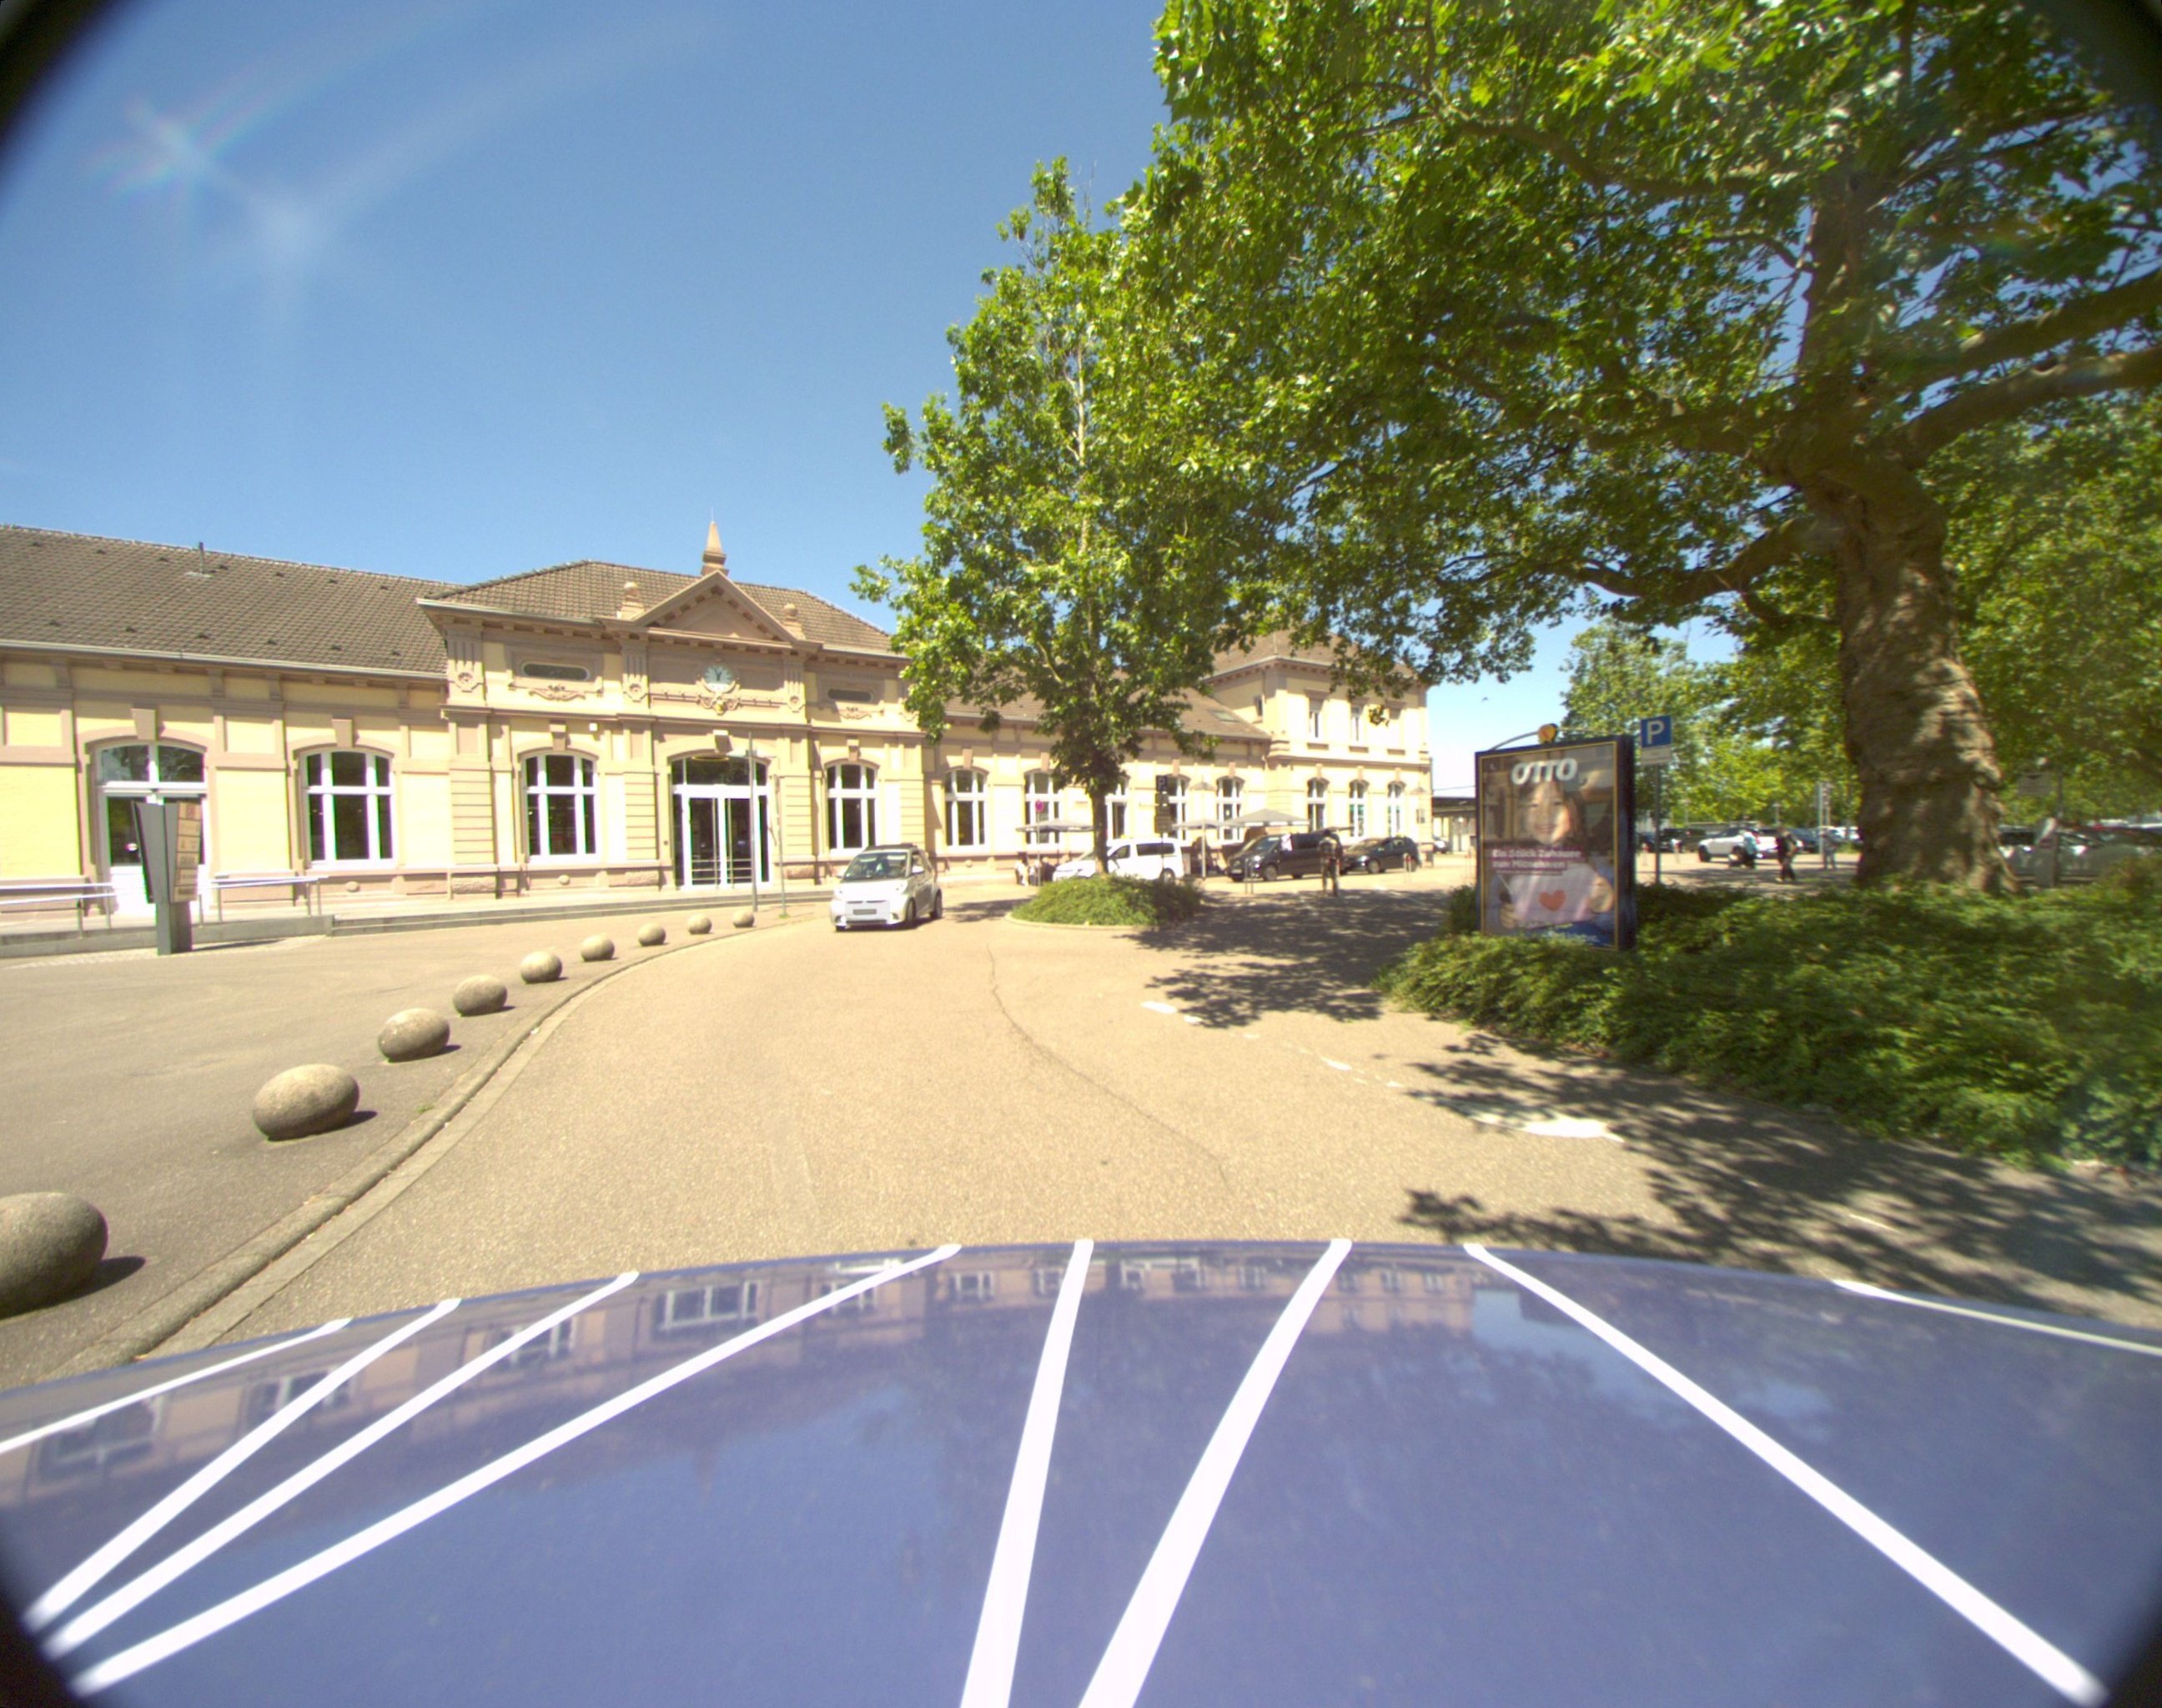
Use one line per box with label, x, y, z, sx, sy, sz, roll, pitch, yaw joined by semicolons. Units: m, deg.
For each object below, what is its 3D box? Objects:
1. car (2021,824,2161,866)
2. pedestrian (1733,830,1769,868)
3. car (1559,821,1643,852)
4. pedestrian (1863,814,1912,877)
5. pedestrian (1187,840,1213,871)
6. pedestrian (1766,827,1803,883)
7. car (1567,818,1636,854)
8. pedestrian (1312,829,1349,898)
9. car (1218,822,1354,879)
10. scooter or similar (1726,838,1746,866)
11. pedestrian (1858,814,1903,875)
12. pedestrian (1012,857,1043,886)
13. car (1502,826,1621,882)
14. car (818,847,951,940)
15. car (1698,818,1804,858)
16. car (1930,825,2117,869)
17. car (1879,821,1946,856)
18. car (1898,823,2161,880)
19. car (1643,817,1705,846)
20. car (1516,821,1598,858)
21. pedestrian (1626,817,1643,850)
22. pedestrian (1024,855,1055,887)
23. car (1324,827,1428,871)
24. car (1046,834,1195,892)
car;38.078;-0.331;28.091;3.866;1.452;1.639;-1;2;30
pedestrian;25.847;-0.193;29.313;0.801;1.416;0.690;-2;1;-4
car;41.084;-1.366;60.157;2.055;2.107;4.953;-3;0;-33
pedestrian;23.130;-0.251;21.806;0.836;1.760;0.853;0;2;38
pedestrian;5.515;0.067;35.217;0.853;1.364;0.879;-3;3;-36
pedestrian;19.722;0.013;21.296;0.611;1.539;0.588;-2;3;-31
car;31.271;-1.074;45.617;4.611;1.978;1.999;-3;0;-37
pedestrian;6.366;0.227;19.400;0.772;1.707;0.815;-1;2;12
car;8.288;-0.166;30.427;5.836;2.112;2.088;-2;0;-37
scooter or similar;25.832;-0.076;29.952;0.437;1.095;0.403;-2;1;-3
pedestrian;23.782;-0.275;22.617;0.836;1.760;0.853;0;2;39
pedestrian;-2.134;0.667;30.197;0.853;1.074;0.879;-3;3;-36
car;15.601;-0.066;24.951;1.798;1.534;4.532;-3;2;12
car;-3.781;0.692;15.127;1.600;1.584;3.106;-2;1;4
car;29.573;-0.763;33.713;1.798;1.596;4.066;-3;2;13
car;33.502;-0.250;27.181;3.866;1.452;1.639;-1;2;30
car;47.272;-0.906;43.302;1.734;1.883;4.007;-1;1;35
car;25.935;-0.052;20.731;4.764;1.409;1.790;-1;1;39
car;42.589;-1.635;54.561;4.253;1.779;1.996;-3;0;-31
car;26.494;-0.843;42.201;5.327;1.829;1.999;-2;0;-37
pedestrian;33.984;-1.237;46.668;0.618;1.978;0.627;-3;0;-37
pedestrian;-1.597;0.633;29.425;0.853;1.155;0.879;-3;3;-36
car;13.310;-0.250;34.191;4.849;1.829;2.075;-2;0;-37
car;1.448;0.276;26.697;5.147;1.855;1.810;-2;0;-34
